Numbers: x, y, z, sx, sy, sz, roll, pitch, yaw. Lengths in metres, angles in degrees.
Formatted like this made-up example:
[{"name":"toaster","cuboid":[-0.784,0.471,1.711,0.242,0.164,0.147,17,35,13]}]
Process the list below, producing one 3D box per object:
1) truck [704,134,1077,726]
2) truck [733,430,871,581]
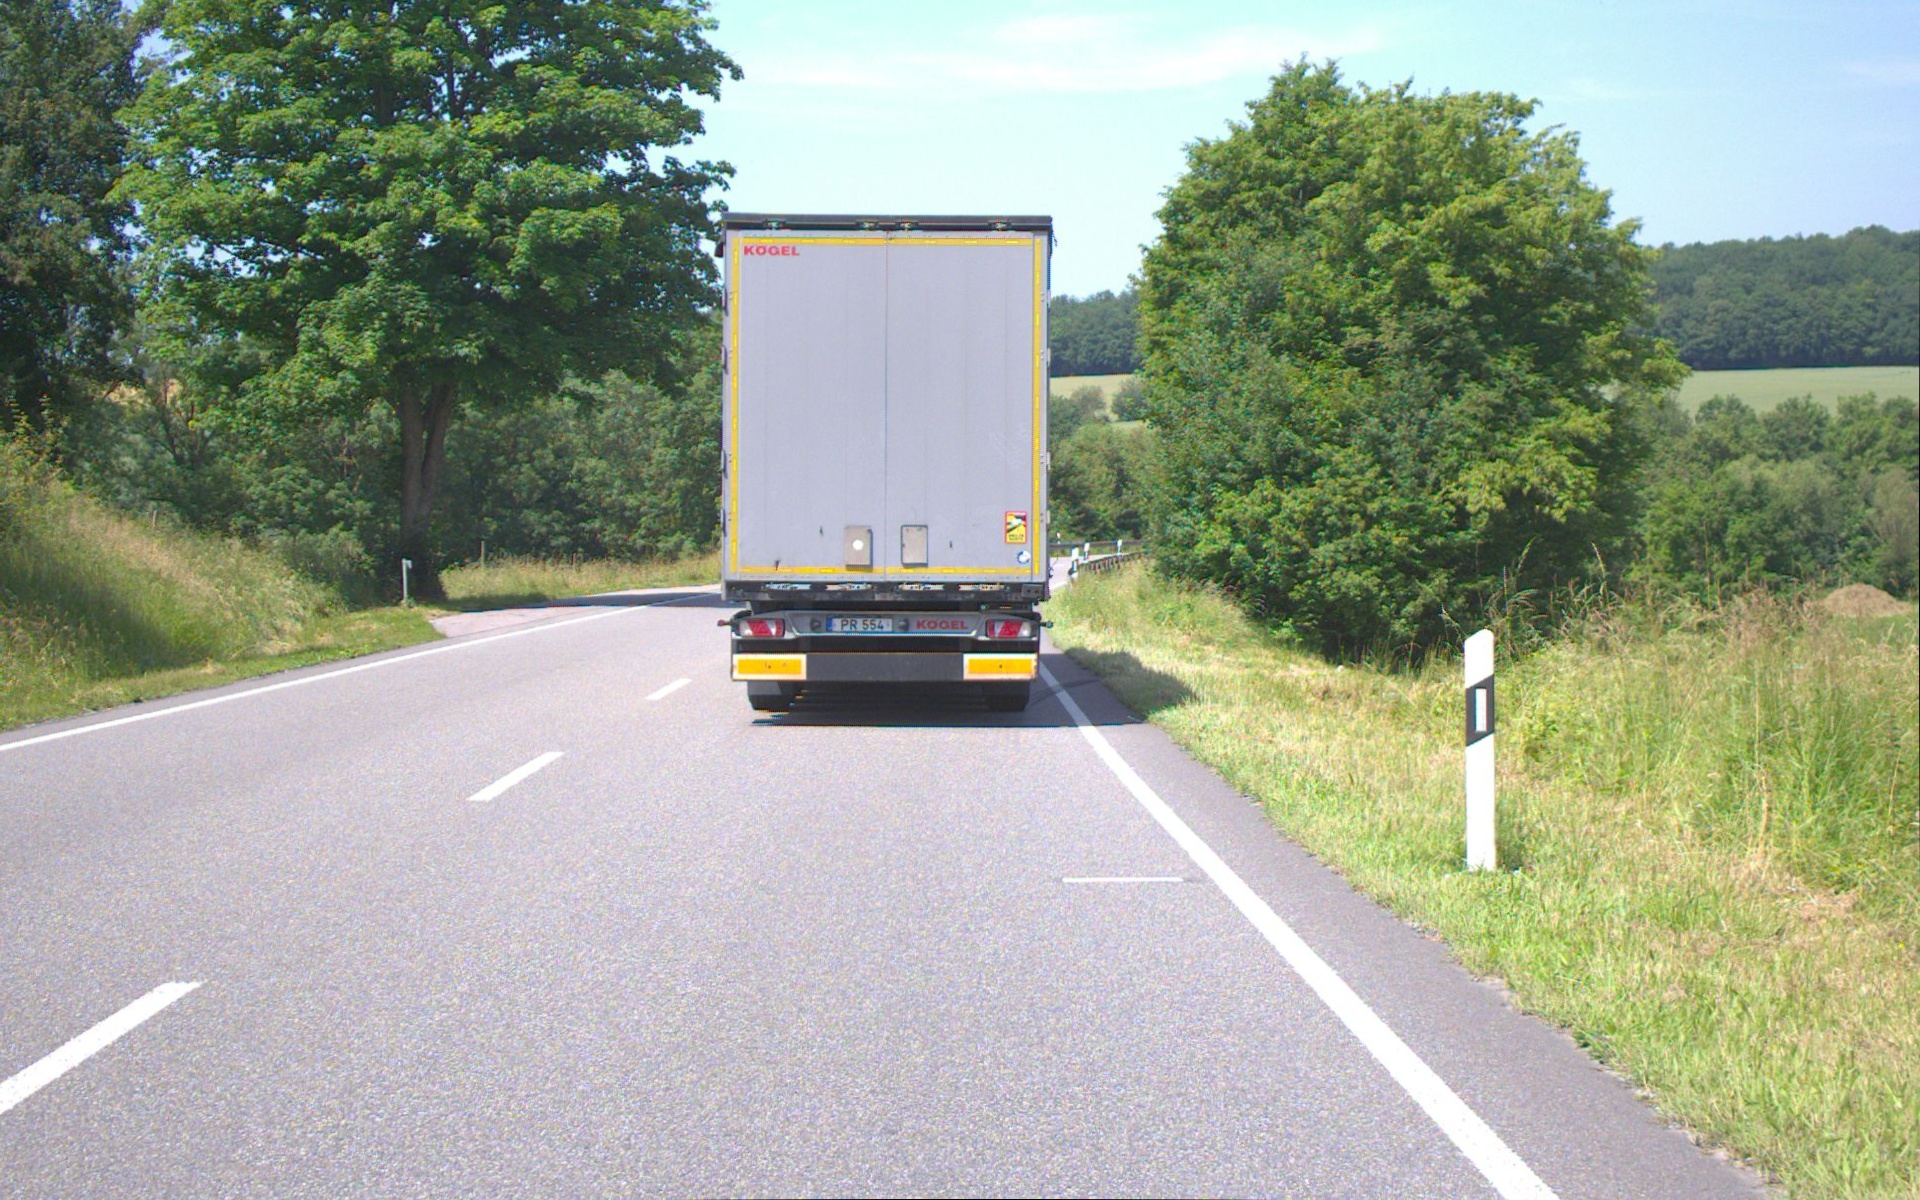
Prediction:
[{"name":"truck","cuboid":[-0.626,-1.444,32.306,2.817,4.517,11.769,1,1,-1]},{"name":"truck","cuboid":[-3.816,-2.287,84.857,2.531,3.547,7.760,0,1,4]}]
